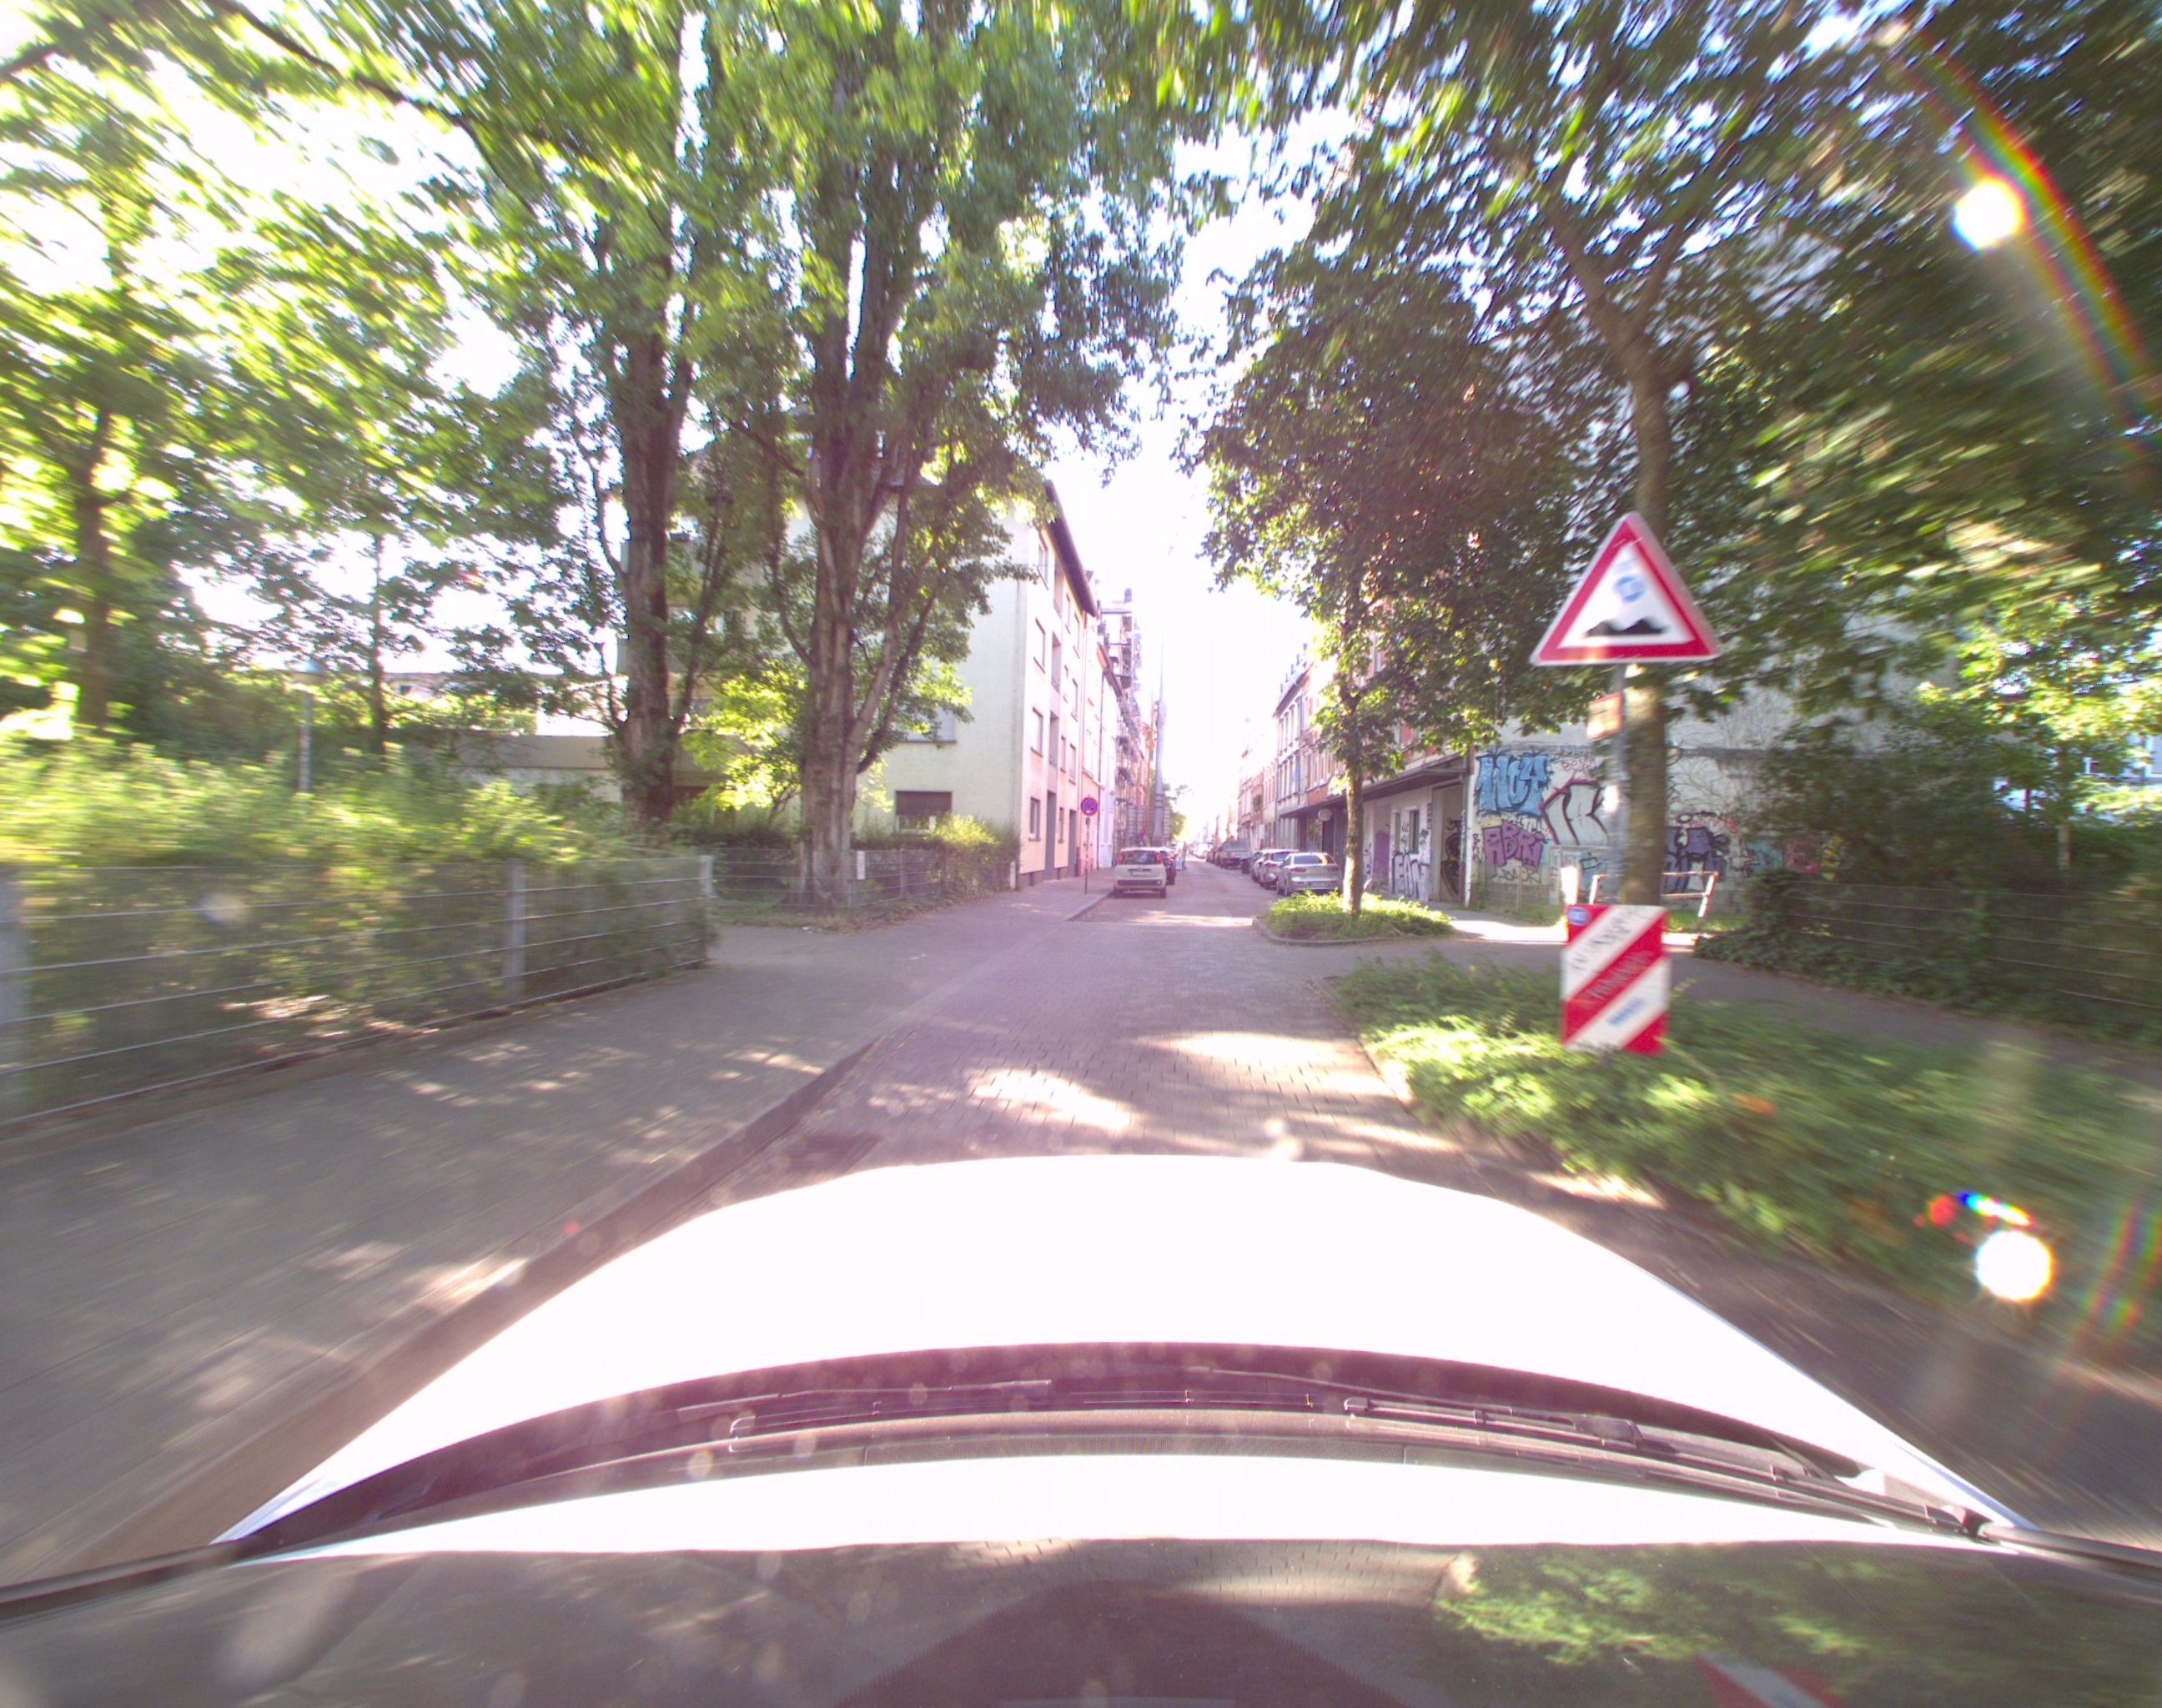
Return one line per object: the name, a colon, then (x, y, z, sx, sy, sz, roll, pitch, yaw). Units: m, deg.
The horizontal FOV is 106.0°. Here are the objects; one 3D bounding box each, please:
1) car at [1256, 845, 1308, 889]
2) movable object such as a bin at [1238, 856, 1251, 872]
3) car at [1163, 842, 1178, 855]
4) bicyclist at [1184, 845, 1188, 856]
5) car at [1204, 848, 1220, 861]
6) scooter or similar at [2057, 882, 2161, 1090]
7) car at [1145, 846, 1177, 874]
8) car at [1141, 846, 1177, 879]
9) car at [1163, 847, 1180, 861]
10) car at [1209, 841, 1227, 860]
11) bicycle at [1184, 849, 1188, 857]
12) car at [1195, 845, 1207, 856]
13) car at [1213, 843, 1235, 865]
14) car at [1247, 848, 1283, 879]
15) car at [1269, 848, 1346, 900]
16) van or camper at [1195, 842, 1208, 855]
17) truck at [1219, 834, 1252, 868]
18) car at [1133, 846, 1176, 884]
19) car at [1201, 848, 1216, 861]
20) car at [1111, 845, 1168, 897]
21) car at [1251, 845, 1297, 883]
car: (8.203, 0.503, 33.453, 1.631, 1.656, 3.878, 2, 0, 8)
movable object such as a bin: (10.814, 0.652, 53.972, 0.791, 1.056, 0.661, 1, 0, 7)
car: (10.721, -0.650, 97.738, 1.667, 1.571, 3.874, 1, 0, 5)
bicyclist: (17.483, -0.628, 135.636, 0.726, 1.761, 0.837, 2, 1, 7)
car: (16.444, 0.034, 102.046, 1.667, 1.571, 3.874, 0, 0, 5)
scooter or similar: (7.062, 0.832, 4.886, 0.547, 1.261, 1.461, 0, 0, -24)
car: (4.623, 0.324, 46.629, 1.666, 1.477, 4.617, 1, 0, 7)
car: (3.899, 0.390, 40.268, 1.666, 1.511, 4.423, 1, 0, 7)
car: (9.737, 0.029, 87.592, 1.667, 1.445, 3.874, 1, 0, 5)
car: (14.965, -0.364, 89.053, 1.667, 2.031, 3.874, 1, 0, 5)
bicycle: (17.464, -0.164, 135.647, 0.721, 1.186, 2.047, 2, 1, 7)
car: (20.811, -0.571, 141.209, 1.984, 1.848, 4.007, 0, 0, 6)
car: (13.431, -0.039, 76.626, 1.667, 1.962, 4.114, 1, 0, 5)
car: (9.943, 0.468, 44.223, 1.587, 1.560, 3.823, 1, 0, 9)
car: (7.477, 0.605, 27.247, 1.712, 1.562, 4.405, 2, 0, 6)
van or camper: (22.952, -1.061, 154.998, 1.985, 2.508, 4.205, 0, 0, 3)
truck: (12.509, -0.279, 66.140, 2.179, 2.607, 5.243, 0, 0, 6)
car: (3.138, 0.439, 34.919, 1.721, 1.539, 4.383, 0, 0, 5)
car: (19.822, 0.043, 126.743, 1.984, 2.013, 4.007, 1, 1, 6)
car: (1.907, 0.503, 26.157, 1.667, 1.539, 3.874, 0, 0, 5)
car: (9.156, 0.459, 38.944, 1.737, 1.675, 4.350, 1, 0, 8)
